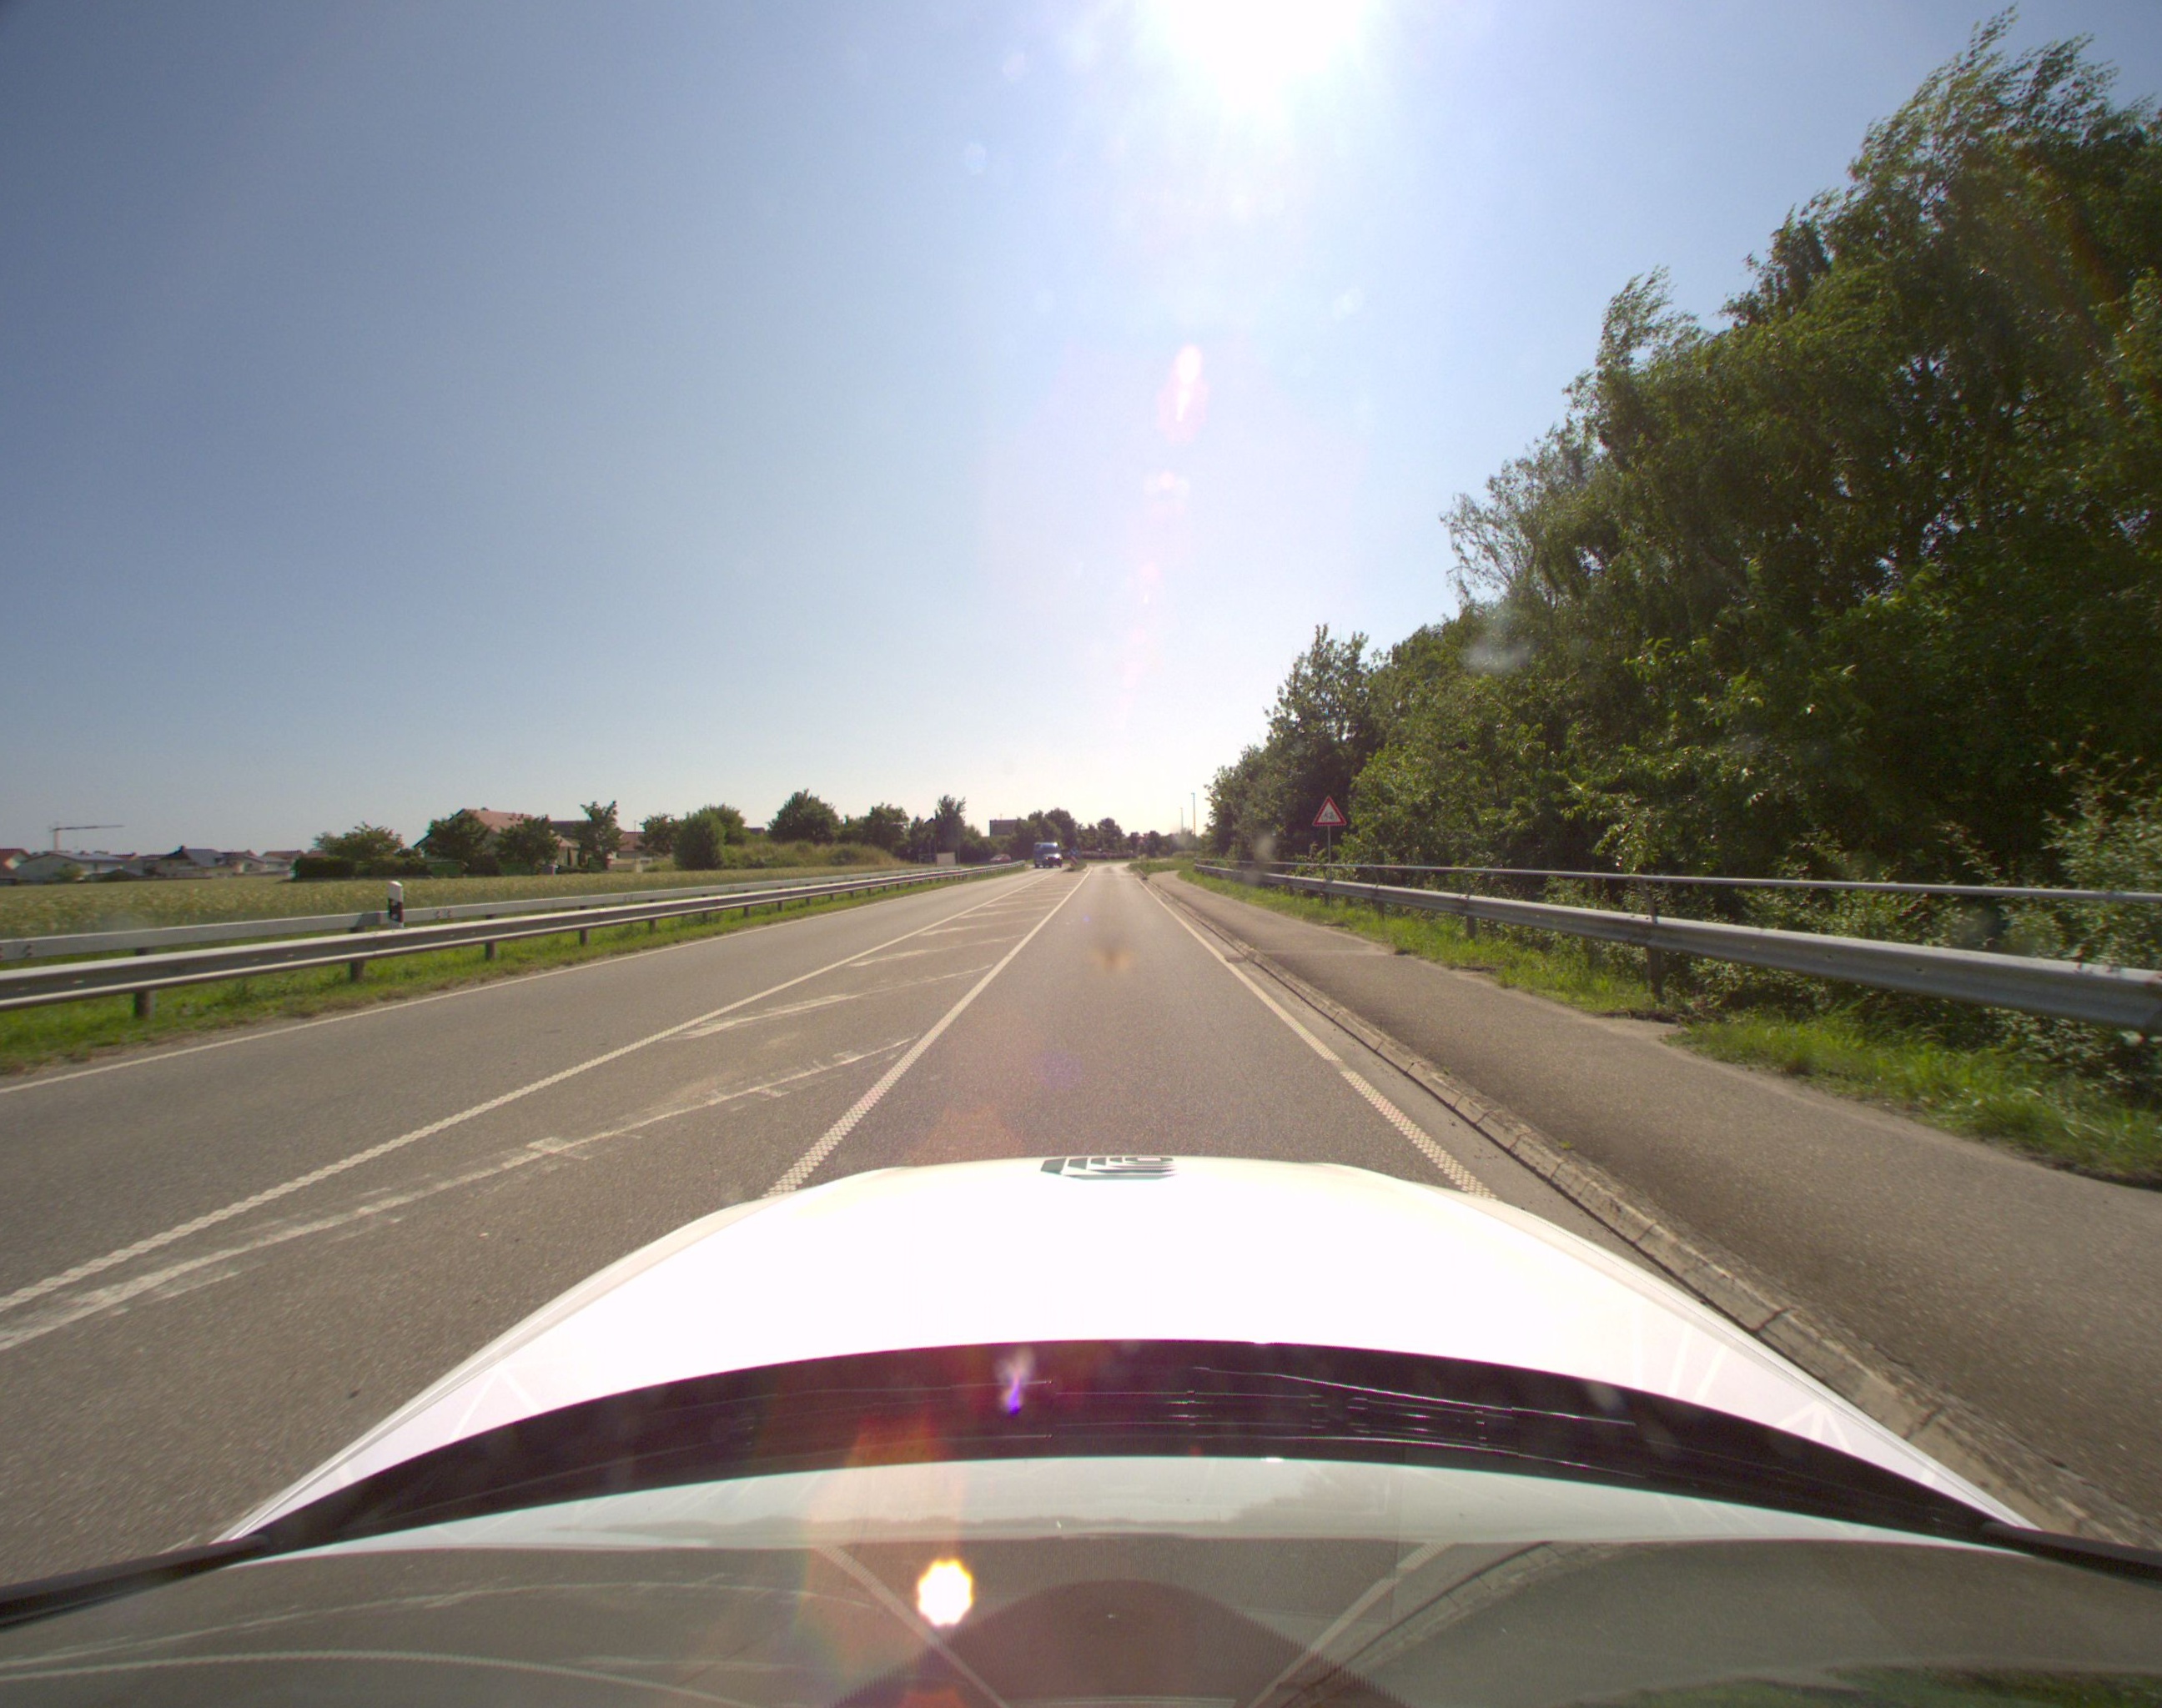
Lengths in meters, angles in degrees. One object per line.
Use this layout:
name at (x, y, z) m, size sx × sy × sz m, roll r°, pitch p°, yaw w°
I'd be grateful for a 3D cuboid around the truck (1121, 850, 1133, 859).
truck at (10.848, 0.096, 192.649) m, size 1.978 × 2.013 × 4.018 m, roll 0°, pitch 0°, yaw 17°

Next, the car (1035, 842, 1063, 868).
car at (-3.460, 0.106, 86.902) m, size 1.993 × 2.611 × 7.266 m, roll -3°, pitch 0°, yaw -9°

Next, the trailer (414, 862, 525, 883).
trailer at (-72.843, 2.151, 97.420) m, size 10.535 × 2.278 × 1.979 m, roll 0°, pitch 0°, yaw -35°

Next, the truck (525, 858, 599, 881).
truck at (-65.244, 1.905, 102.456) m, size 7.719 × 2.649 × 2.494 m, roll -1°, pitch 0°, yaw -35°
